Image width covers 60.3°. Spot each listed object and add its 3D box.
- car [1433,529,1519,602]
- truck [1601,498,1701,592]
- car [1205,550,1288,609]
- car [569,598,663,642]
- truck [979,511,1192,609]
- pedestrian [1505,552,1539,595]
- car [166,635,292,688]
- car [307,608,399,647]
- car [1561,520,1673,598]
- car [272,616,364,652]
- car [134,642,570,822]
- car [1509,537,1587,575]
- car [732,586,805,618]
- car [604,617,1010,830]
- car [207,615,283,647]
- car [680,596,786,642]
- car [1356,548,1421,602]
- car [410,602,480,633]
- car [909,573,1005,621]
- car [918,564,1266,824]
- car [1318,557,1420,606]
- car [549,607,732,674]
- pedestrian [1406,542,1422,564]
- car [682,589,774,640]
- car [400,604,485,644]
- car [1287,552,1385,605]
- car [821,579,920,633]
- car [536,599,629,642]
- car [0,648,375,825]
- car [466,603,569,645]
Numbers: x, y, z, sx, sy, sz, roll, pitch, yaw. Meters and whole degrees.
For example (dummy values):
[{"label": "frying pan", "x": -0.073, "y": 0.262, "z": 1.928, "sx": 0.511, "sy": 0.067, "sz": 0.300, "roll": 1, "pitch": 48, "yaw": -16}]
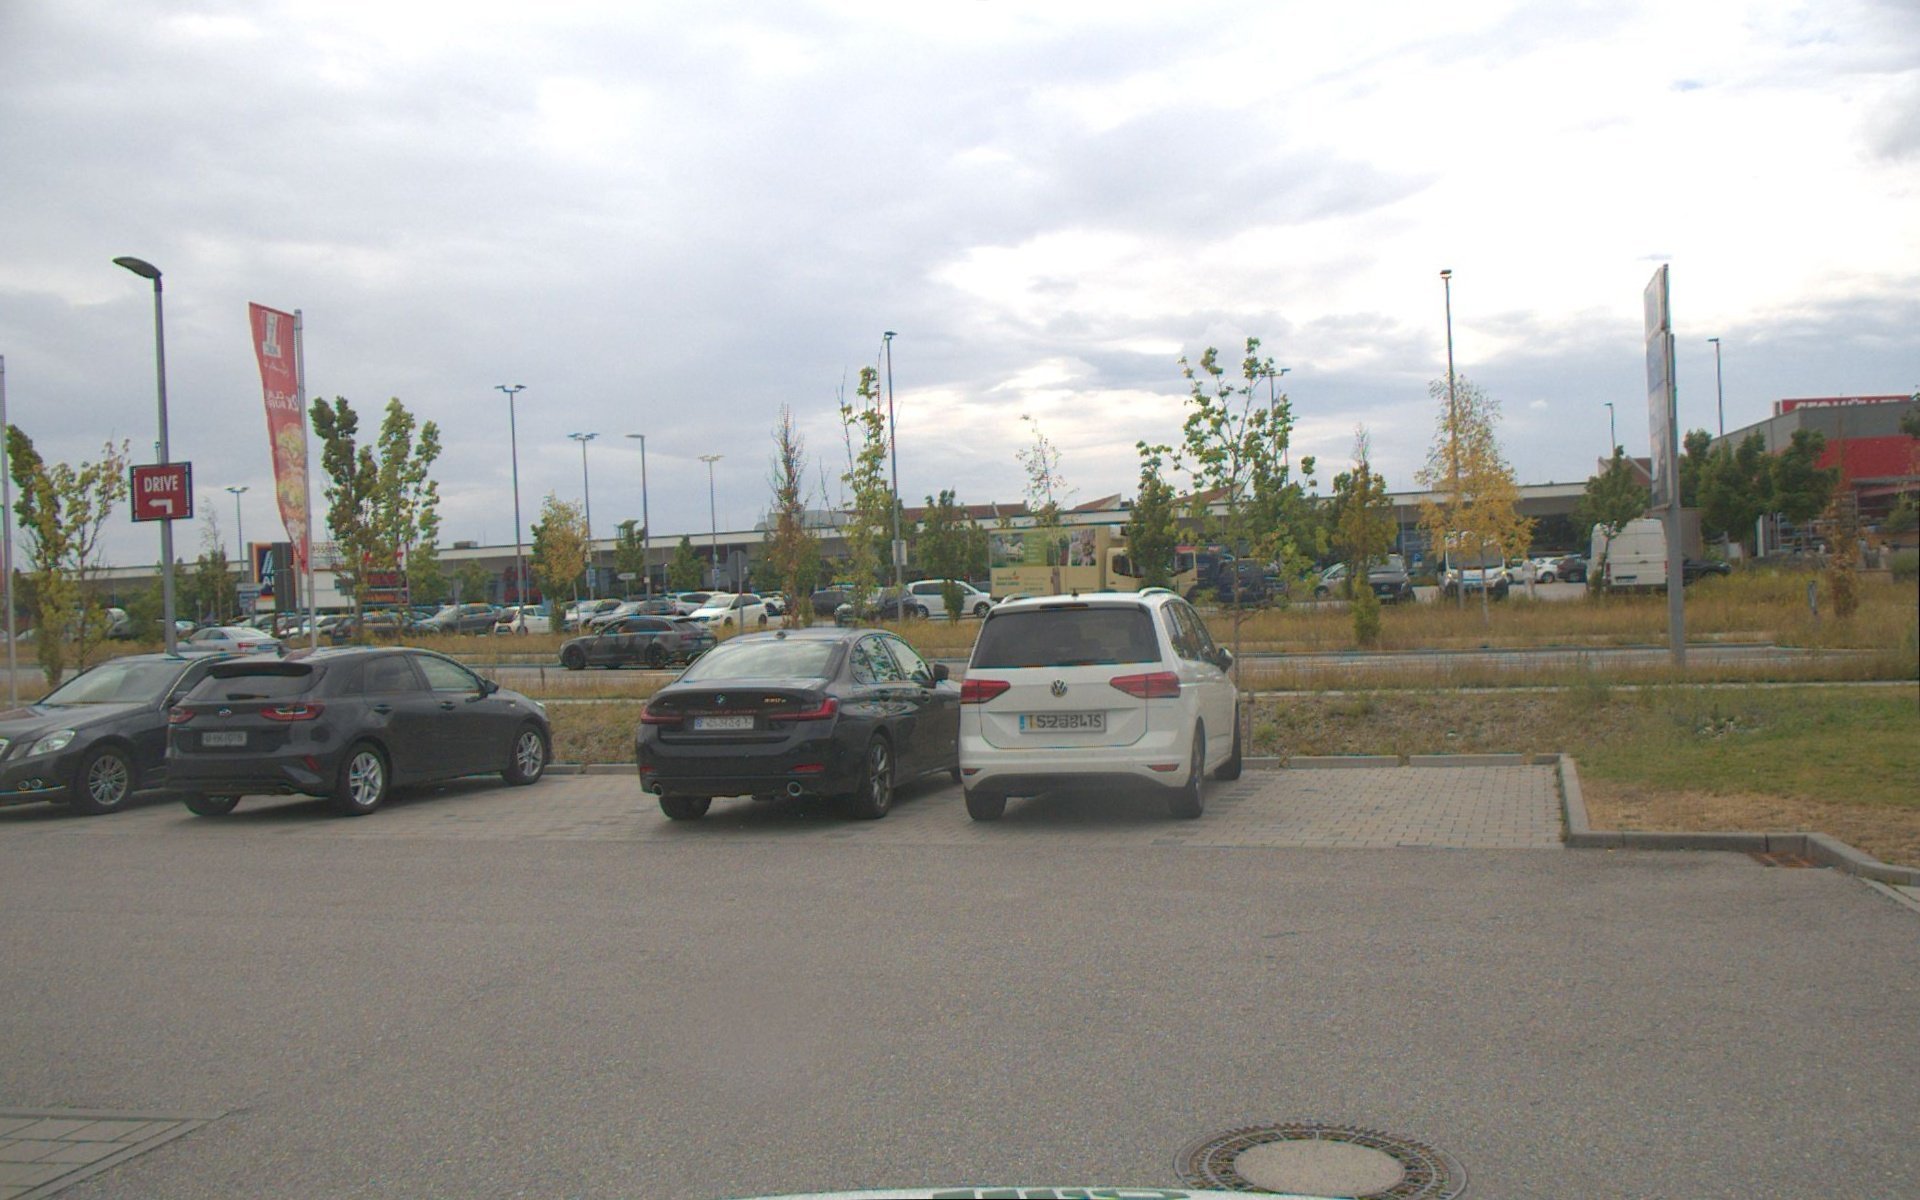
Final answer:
[{"label": "car", "x": 17.469, "y": -1.239, "z": 56.259, "sx": 2.357, "sy": 2.252, "sz": 6.066, "roll": -2, "pitch": 2, "yaw": 14}, {"label": "truck", "x": 30.880, "y": -2.486, "z": 74.195, "sx": 2.591, "sy": 3.808, "sz": 8.265, "roll": -3, "pitch": 2, "yaw": 13}, {"label": "car", "x": 10.275, "y": -0.735, "z": 58.959, "sx": 2.028, "sy": 1.917, "sz": 5.072, "roll": -2, "pitch": 0, "yaw": 20}, {"label": "car", "x": -14.690, "y": 0.826, "z": 70.772, "sx": 1.732, "sy": 1.566, "sz": 4.052, "roll": -2, "pitch": 2, "yaw": 27}, {"label": "truck", "x": 4.497, "y": -1.412, "z": 61.258, "sx": 2.999, "sy": 3.251, "sz": 8.317, "roll": -4, "pitch": 2, "yaw": -38}, {"label": "pedestrian", "x": 19.664, "y": -0.923, "z": 57.898, "sx": 0.954, "sy": 1.453, "sz": 0.788, "roll": -3, "pitch": 1, "yaw": 10}, {"label": "car", "x": -24.403, "y": 2.036, "z": 55.125, "sx": 4.761, "sy": 1.578, "sz": 1.794, "roll": -2, "pitch": 2, "yaw": 39}, {"label": "car", "x": -29.810, "y": 1.341, "z": 81.340, "sx": 1.953, "sy": 1.566, "sz": 4.054, "roll": -2, "pitch": 2, "yaw": 24}, {"label": "car", "x": 21.772, "y": -1.402, "z": 55.067, "sx": 2.288, "sy": 2.307, "sz": 6.513, "roll": -3, "pitch": 2, "yaw": 12}, {"label": "car", "x": -32.376, "y": 1.695, "z": 83.462, "sx": 1.823, "sy": 1.527, "sz": 4.070, "roll": -2, "pitch": 2, "yaw": 28}, {"label": "car", "x": -5.586, "y": 1.166, "z": 15.800, "sx": 1.842, "sy": 1.437, "sz": 4.073, "roll": -2, "pitch": -1, "yaw": 16}, {"label": "car", "x": 32.593, "y": -2.449, "z": 91.818, "sx": 3.903, "sy": 1.869, "sz": 2.002, "roll": -3, "pitch": 1, "yaw": 17}, {"label": "car", "x": -12.329, "y": 0.124, "z": 106.588, "sx": 4.085, "sy": 1.869, "sz": 2.002, "roll": -2, "pitch": 2, "yaw": 17}, {"label": "car", "x": -1.068, "y": 0.936, "z": 14.054, "sx": 1.900, "sy": 1.492, "sz": 4.519, "roll": -2, "pitch": -1, "yaw": 16}, {"label": "car", "x": -46.730, "y": 2.026, "z": 108.149, "sx": 4.084, "sy": 1.869, "sz": 2.002, "roll": -3, "pitch": 2, "yaw": 12}, {"label": "car", "x": -10.118, "y": 0.853, "z": 73.674, "sx": 4.220, "sy": 1.802, "sz": 1.921, "roll": -3, "pitch": 2, "yaw": 24}, {"label": "car", "x": 14.683, "y": -0.902, "z": 56.801, "sx": 2.027, "sy": 1.667, "sz": 5.075, "roll": -2, "pitch": 2, "yaw": 14}, {"label": "car", "x": -35.591, "y": 1.219, "z": 114.330, "sx": 4.085, "sy": 1.869, "sz": 2.002, "roll": -2, "pitch": 2, "yaw": 18}, {"label": "car", "x": -0.097, "y": -0.140, "z": 70.278, "sx": 3.904, "sy": 1.802, "sz": 2.001, "roll": -3, "pitch": 1, "yaw": 2}, {"label": "car", "x": 1.266, "y": 0.670, "z": 13.451, "sx": 1.944, "sy": 1.743, "sz": 4.375, "roll": -2, "pitch": -1, "yaw": 16}, {"label": "car", "x": 16.739, "y": -0.771, "z": 67.781, "sx": 3.902, "sy": 1.768, "sz": 1.893, "roll": -3, "pitch": 1, "yaw": 14}, {"label": "car", "x": -8.844, "y": 1.126, "z": 45.754, "sx": 4.740, "sy": 1.578, "sz": 1.802, "roll": -3, "pitch": 2, "yaw": 23}, {"label": "pedestrian", "x": 31.298, "y": -3.250, "z": 114.064, "sx": 0.642, "sy": 1.453, "sz": 0.793, "roll": -4, "pitch": 1, "yaw": -23}, {"label": "car", "x": -9.564, "y": 0.585, "z": 68.393, "sx": 1.952, "sy": 1.802, "sz": 4.324, "roll": -3, "pitch": 2, "yaw": 19}, {"label": "car", "x": -24.331, "y": 1.114, "z": 77.895, "sx": 1.731, "sy": 1.566, "sz": 3.763, "roll": -2, "pitch": 2, "yaw": 24}, {"label": "car", "x": 16.382, "y": -0.938, "z": 72.273, "sx": 3.902, "sy": 2.048, "sz": 2.002, "roll": -3, "pitch": 1, "yaw": 7}, {"label": "car", "x": -3.456, "y": 0.201, "z": 64.552, "sx": 1.887, "sy": 1.802, "sz": 4.318, "roll": -2, "pitch": 2, "yaw": 27}, {"label": "car", "x": -16.448, "y": 0.883, "z": 72.301, "sx": 1.732, "sy": 1.566, "sz": 4.052, "roll": -2, "pitch": 2, "yaw": 27}, {"label": "car", "x": -8.306, "y": 1.287, "z": 16.956, "sx": 1.865, "sy": 1.482, "sz": 4.744, "roll": -2, "pitch": -1, "yaw": 17}, {"label": "car", "x": -19.990, "y": 1.082, "z": 74.835, "sx": 1.960, "sy": 1.566, "sz": 4.145, "roll": -2, "pitch": 2, "yaw": 36}]
